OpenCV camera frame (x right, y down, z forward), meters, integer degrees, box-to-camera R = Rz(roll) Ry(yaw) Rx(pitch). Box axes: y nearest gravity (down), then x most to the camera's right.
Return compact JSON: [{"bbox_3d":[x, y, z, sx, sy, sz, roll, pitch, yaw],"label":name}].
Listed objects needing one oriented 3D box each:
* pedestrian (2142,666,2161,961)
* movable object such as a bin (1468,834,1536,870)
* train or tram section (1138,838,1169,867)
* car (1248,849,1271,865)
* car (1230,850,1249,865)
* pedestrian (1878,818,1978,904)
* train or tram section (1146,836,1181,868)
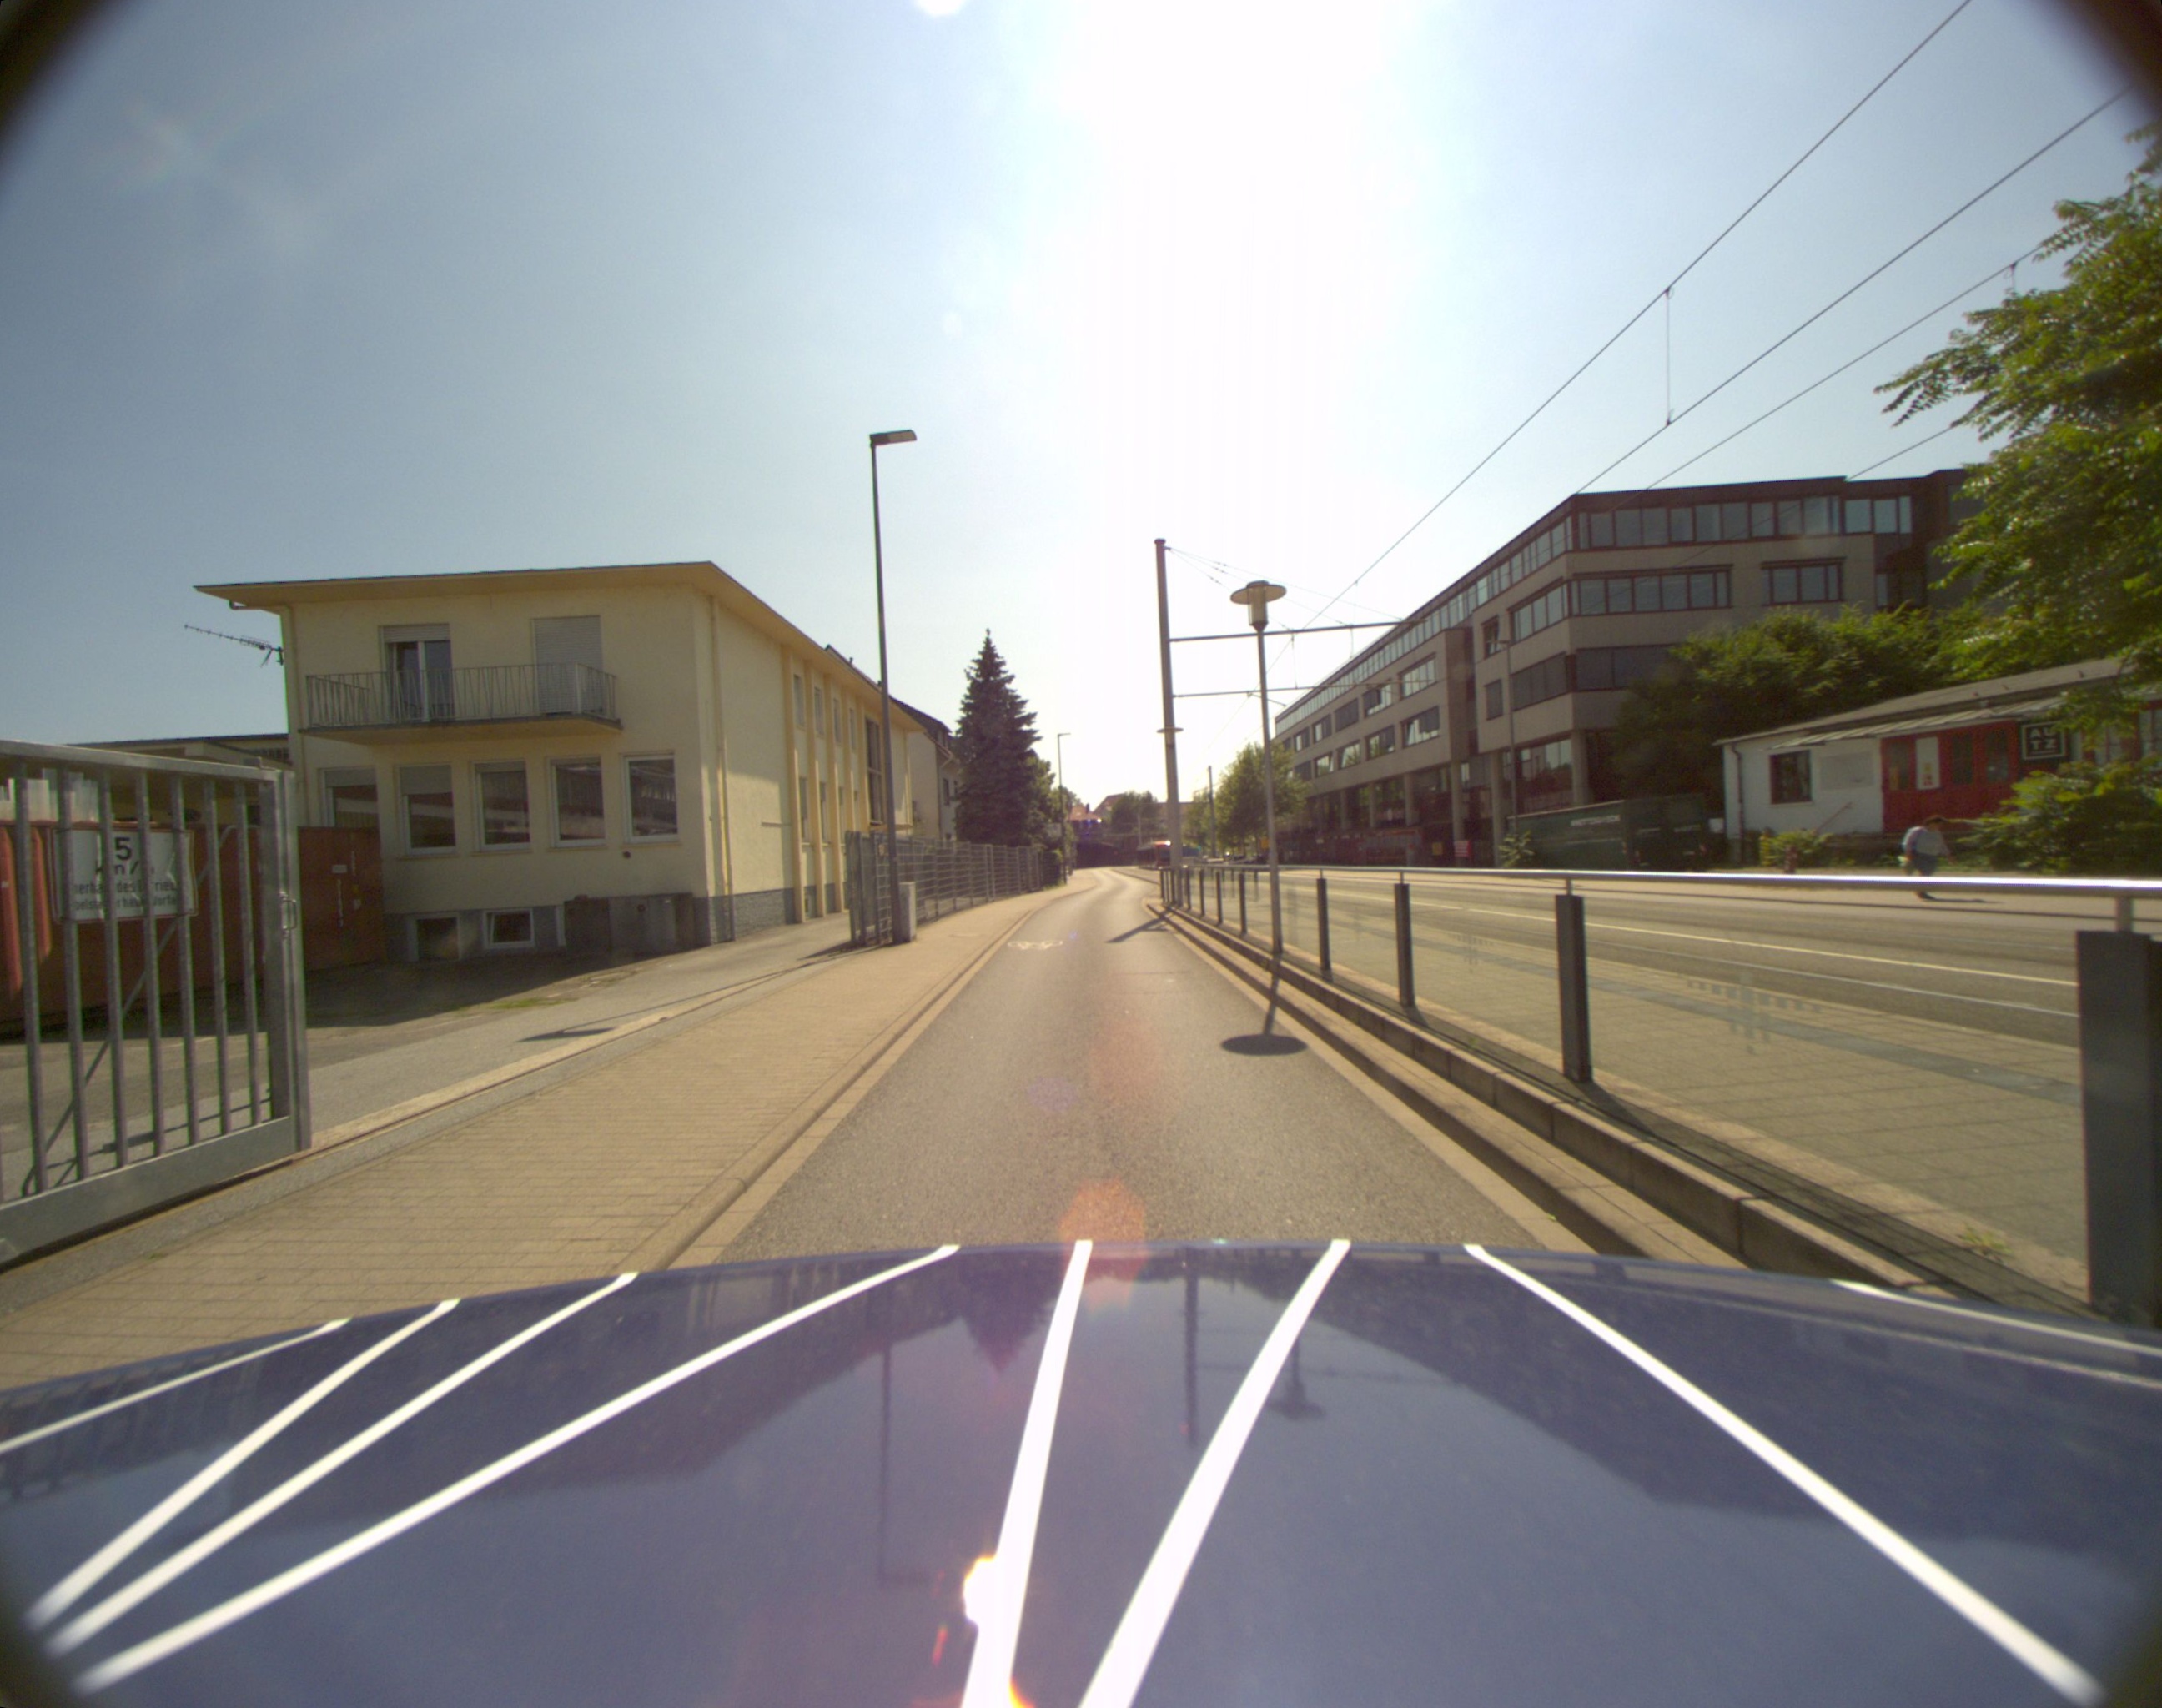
[{"bbox_3d":[3.464,0.296,1.709,0.725,1.714,0.944,-4,0,1],"label":"pedestrian"},{"bbox_3d":[25.565,-0.101,46.195,1.748,2.002,3.174,-3,0,-19],"label":"movable object such as a bin"},{"bbox_3d":[9.661,-0.164,102.702,2.680,3.464,13.390,-3,0,0],"label":"train or tram section"},{"bbox_3d":[19.436,0.318,82.682,1.997,1.613,4.002,-2,0,8],"label":"car"},{"bbox_3d":[18.774,0.398,90.203,1.870,1.608,4.002,-2,0,8],"label":"car"},{"bbox_3d":[15.847,0.126,14.243,0.873,1.518,0.846,-3,0,0],"label":"pedestrian"},{"bbox_3d":[9.584,-0.209,89.880,2.680,3.464,12.328,-3,0,0],"label":"train or tram section"}]
